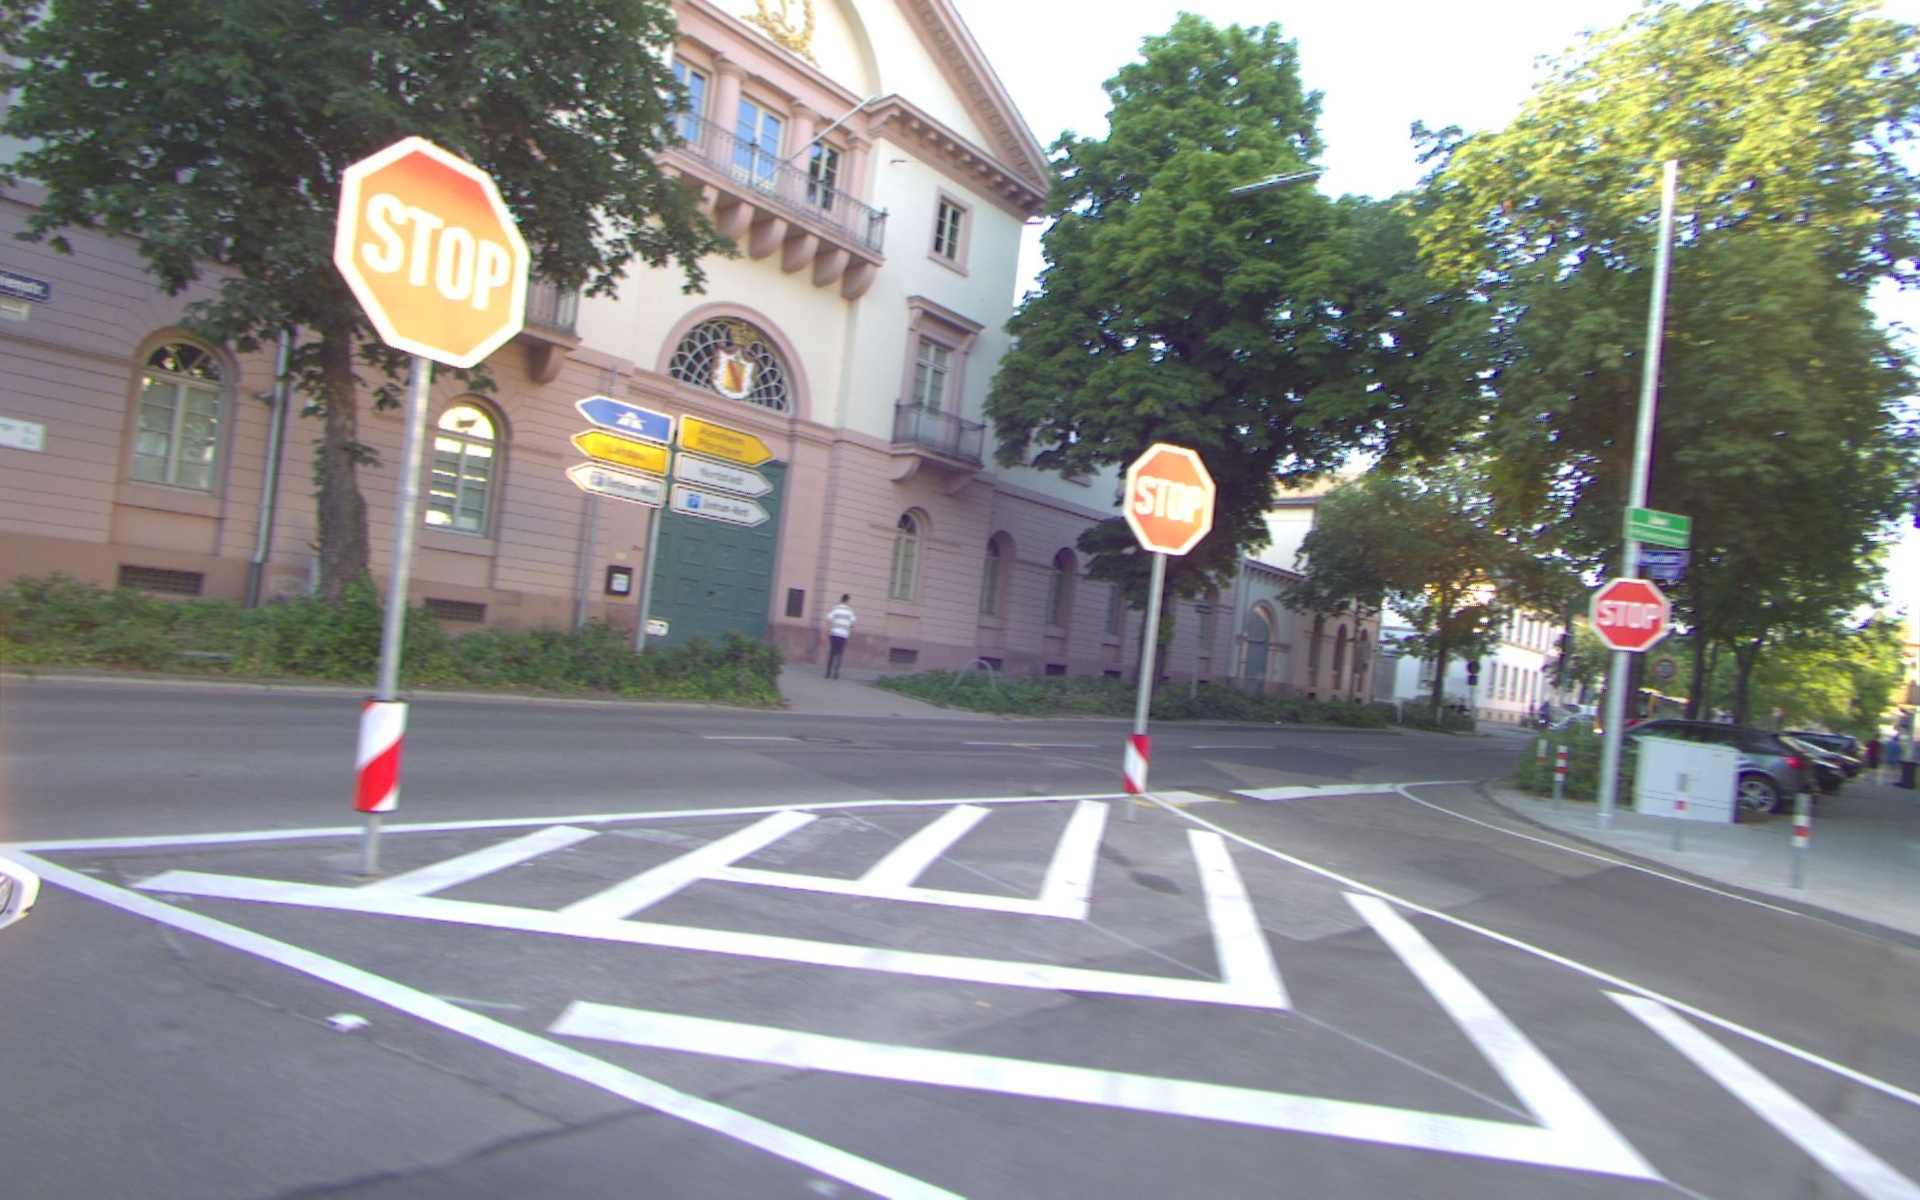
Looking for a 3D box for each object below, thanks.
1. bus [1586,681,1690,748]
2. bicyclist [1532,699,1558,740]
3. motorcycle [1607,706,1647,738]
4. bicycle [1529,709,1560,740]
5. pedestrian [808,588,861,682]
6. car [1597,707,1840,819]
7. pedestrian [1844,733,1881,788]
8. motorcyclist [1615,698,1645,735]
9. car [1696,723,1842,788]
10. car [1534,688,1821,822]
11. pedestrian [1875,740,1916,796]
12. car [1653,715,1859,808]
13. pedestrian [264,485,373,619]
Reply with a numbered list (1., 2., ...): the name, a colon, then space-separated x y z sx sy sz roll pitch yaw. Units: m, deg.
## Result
1. bus: 37.677 6.462 55.639 2.679 3.034 12.022 4 -4 43
2. bicyclist: 27.659 5.652 47.553 0.774 1.860 0.822 4 -3 44
3. motorcycle: 27.656 5.074 41.711 1.951 1.174 0.785 8 -3 -39
4. bicycle: 27.643 5.880 47.554 0.774 1.344 2.068 4 -4 43
5. pedestrian: -2.642 0.719 21.093 0.788 1.853 0.927 7 -1 -15
6. car: 16.312 3.434 21.739 3.946 1.634 1.716 6 -2 43
7. pedestrian: 31.934 5.662 35.597 0.796 1.792 1.016 6 -1 43
8. motorcyclist: 27.914 4.858 41.909 0.693 1.436 0.785 7 -2 -38
9. car: 29.405 5.616 36.613 3.946 1.634 1.716 6 -2 43
10. car: 12.918 2.722 18.251 3.946 1.634 1.820 6 -2 43
11. pedestrian: 32.535 5.837 35.010 0.883 1.792 1.016 6 -1 43
12. car: 20.449 4.088 25.945 3.946 1.634 1.716 6 -2 43
13. pedestrian: -9.774 -0.725 15.340 0.790 1.860 1.077 6 -1 44
